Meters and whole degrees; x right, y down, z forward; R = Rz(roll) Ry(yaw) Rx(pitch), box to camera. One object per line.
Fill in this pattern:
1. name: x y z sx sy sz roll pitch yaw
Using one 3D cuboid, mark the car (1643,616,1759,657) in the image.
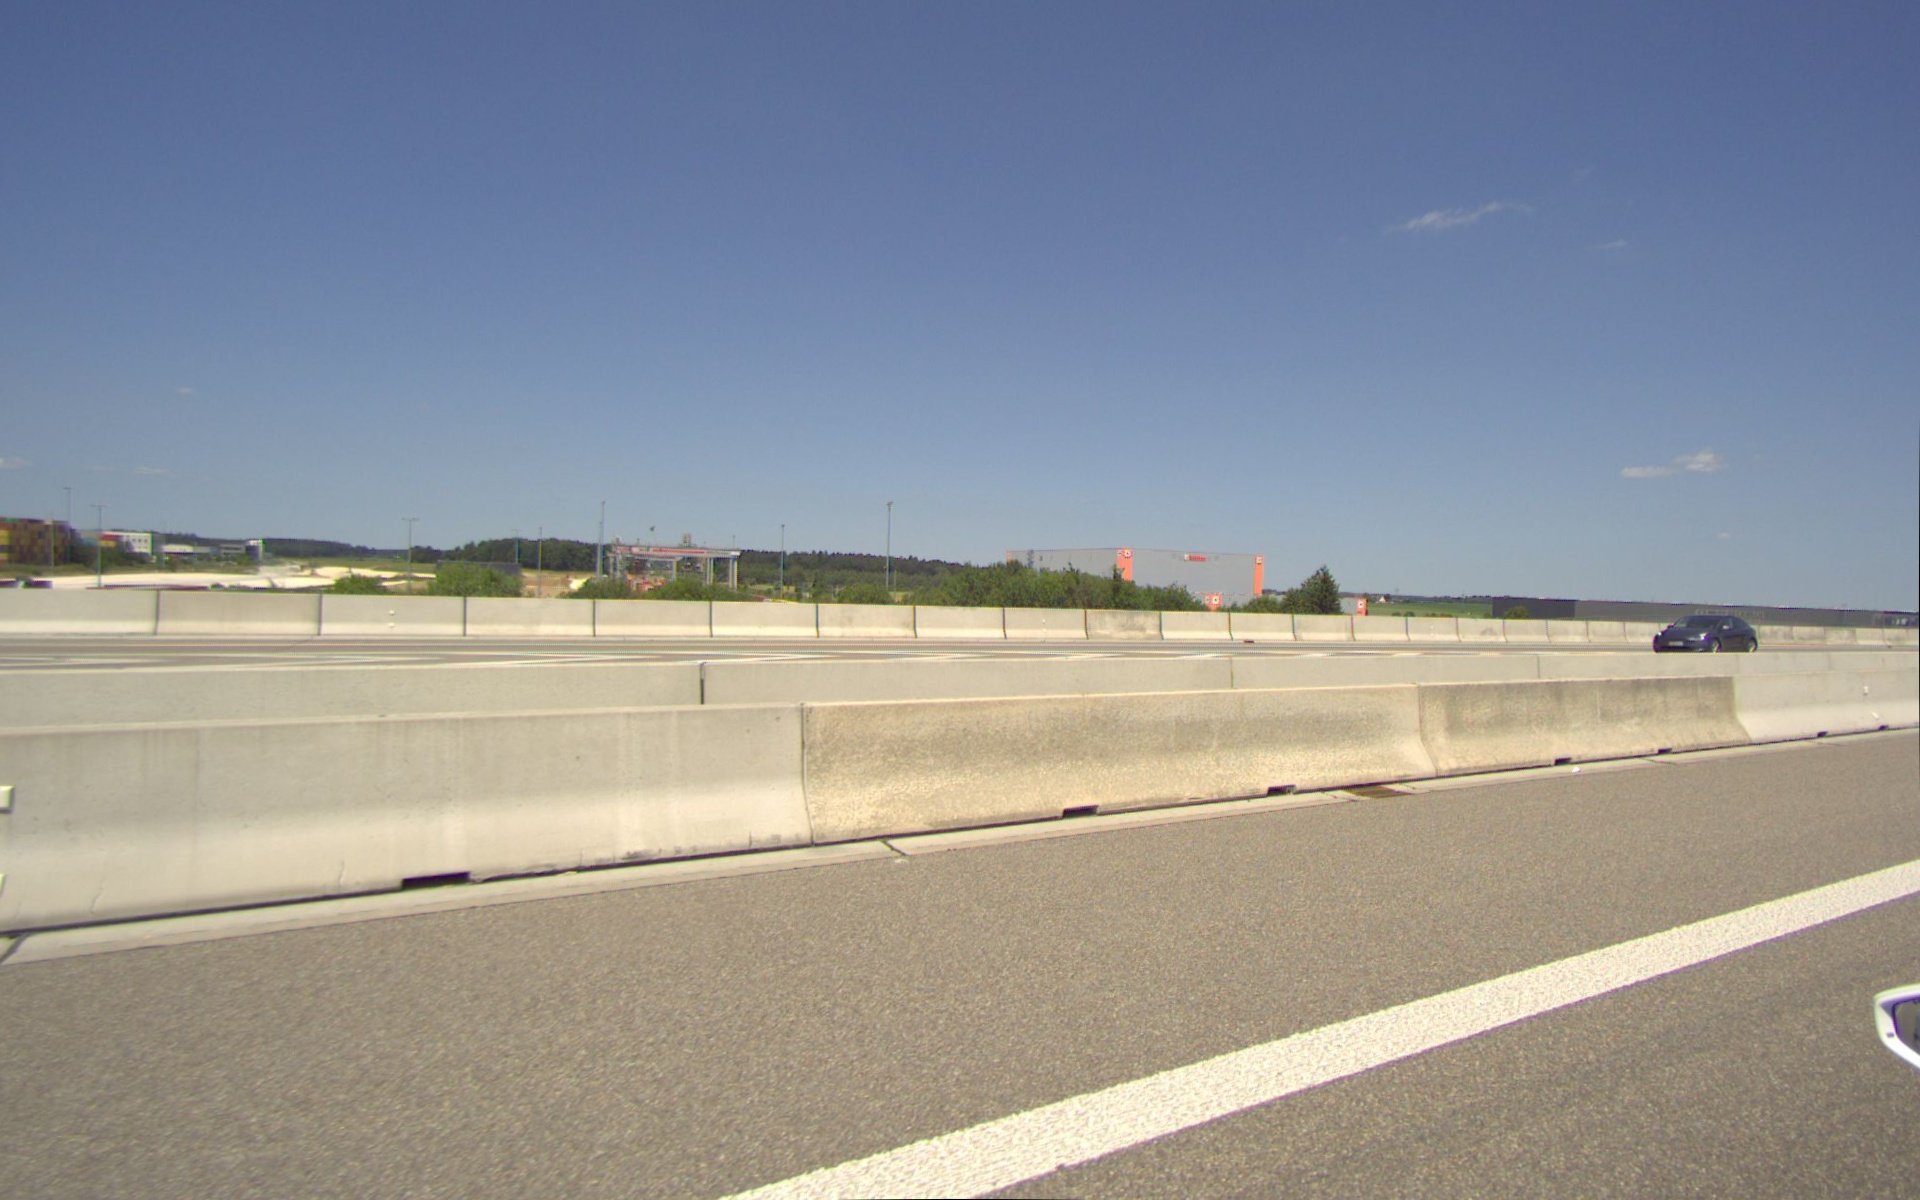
1. car: 28.108 1.364 38.089 4.496 1.439 1.902 1 1 -30
